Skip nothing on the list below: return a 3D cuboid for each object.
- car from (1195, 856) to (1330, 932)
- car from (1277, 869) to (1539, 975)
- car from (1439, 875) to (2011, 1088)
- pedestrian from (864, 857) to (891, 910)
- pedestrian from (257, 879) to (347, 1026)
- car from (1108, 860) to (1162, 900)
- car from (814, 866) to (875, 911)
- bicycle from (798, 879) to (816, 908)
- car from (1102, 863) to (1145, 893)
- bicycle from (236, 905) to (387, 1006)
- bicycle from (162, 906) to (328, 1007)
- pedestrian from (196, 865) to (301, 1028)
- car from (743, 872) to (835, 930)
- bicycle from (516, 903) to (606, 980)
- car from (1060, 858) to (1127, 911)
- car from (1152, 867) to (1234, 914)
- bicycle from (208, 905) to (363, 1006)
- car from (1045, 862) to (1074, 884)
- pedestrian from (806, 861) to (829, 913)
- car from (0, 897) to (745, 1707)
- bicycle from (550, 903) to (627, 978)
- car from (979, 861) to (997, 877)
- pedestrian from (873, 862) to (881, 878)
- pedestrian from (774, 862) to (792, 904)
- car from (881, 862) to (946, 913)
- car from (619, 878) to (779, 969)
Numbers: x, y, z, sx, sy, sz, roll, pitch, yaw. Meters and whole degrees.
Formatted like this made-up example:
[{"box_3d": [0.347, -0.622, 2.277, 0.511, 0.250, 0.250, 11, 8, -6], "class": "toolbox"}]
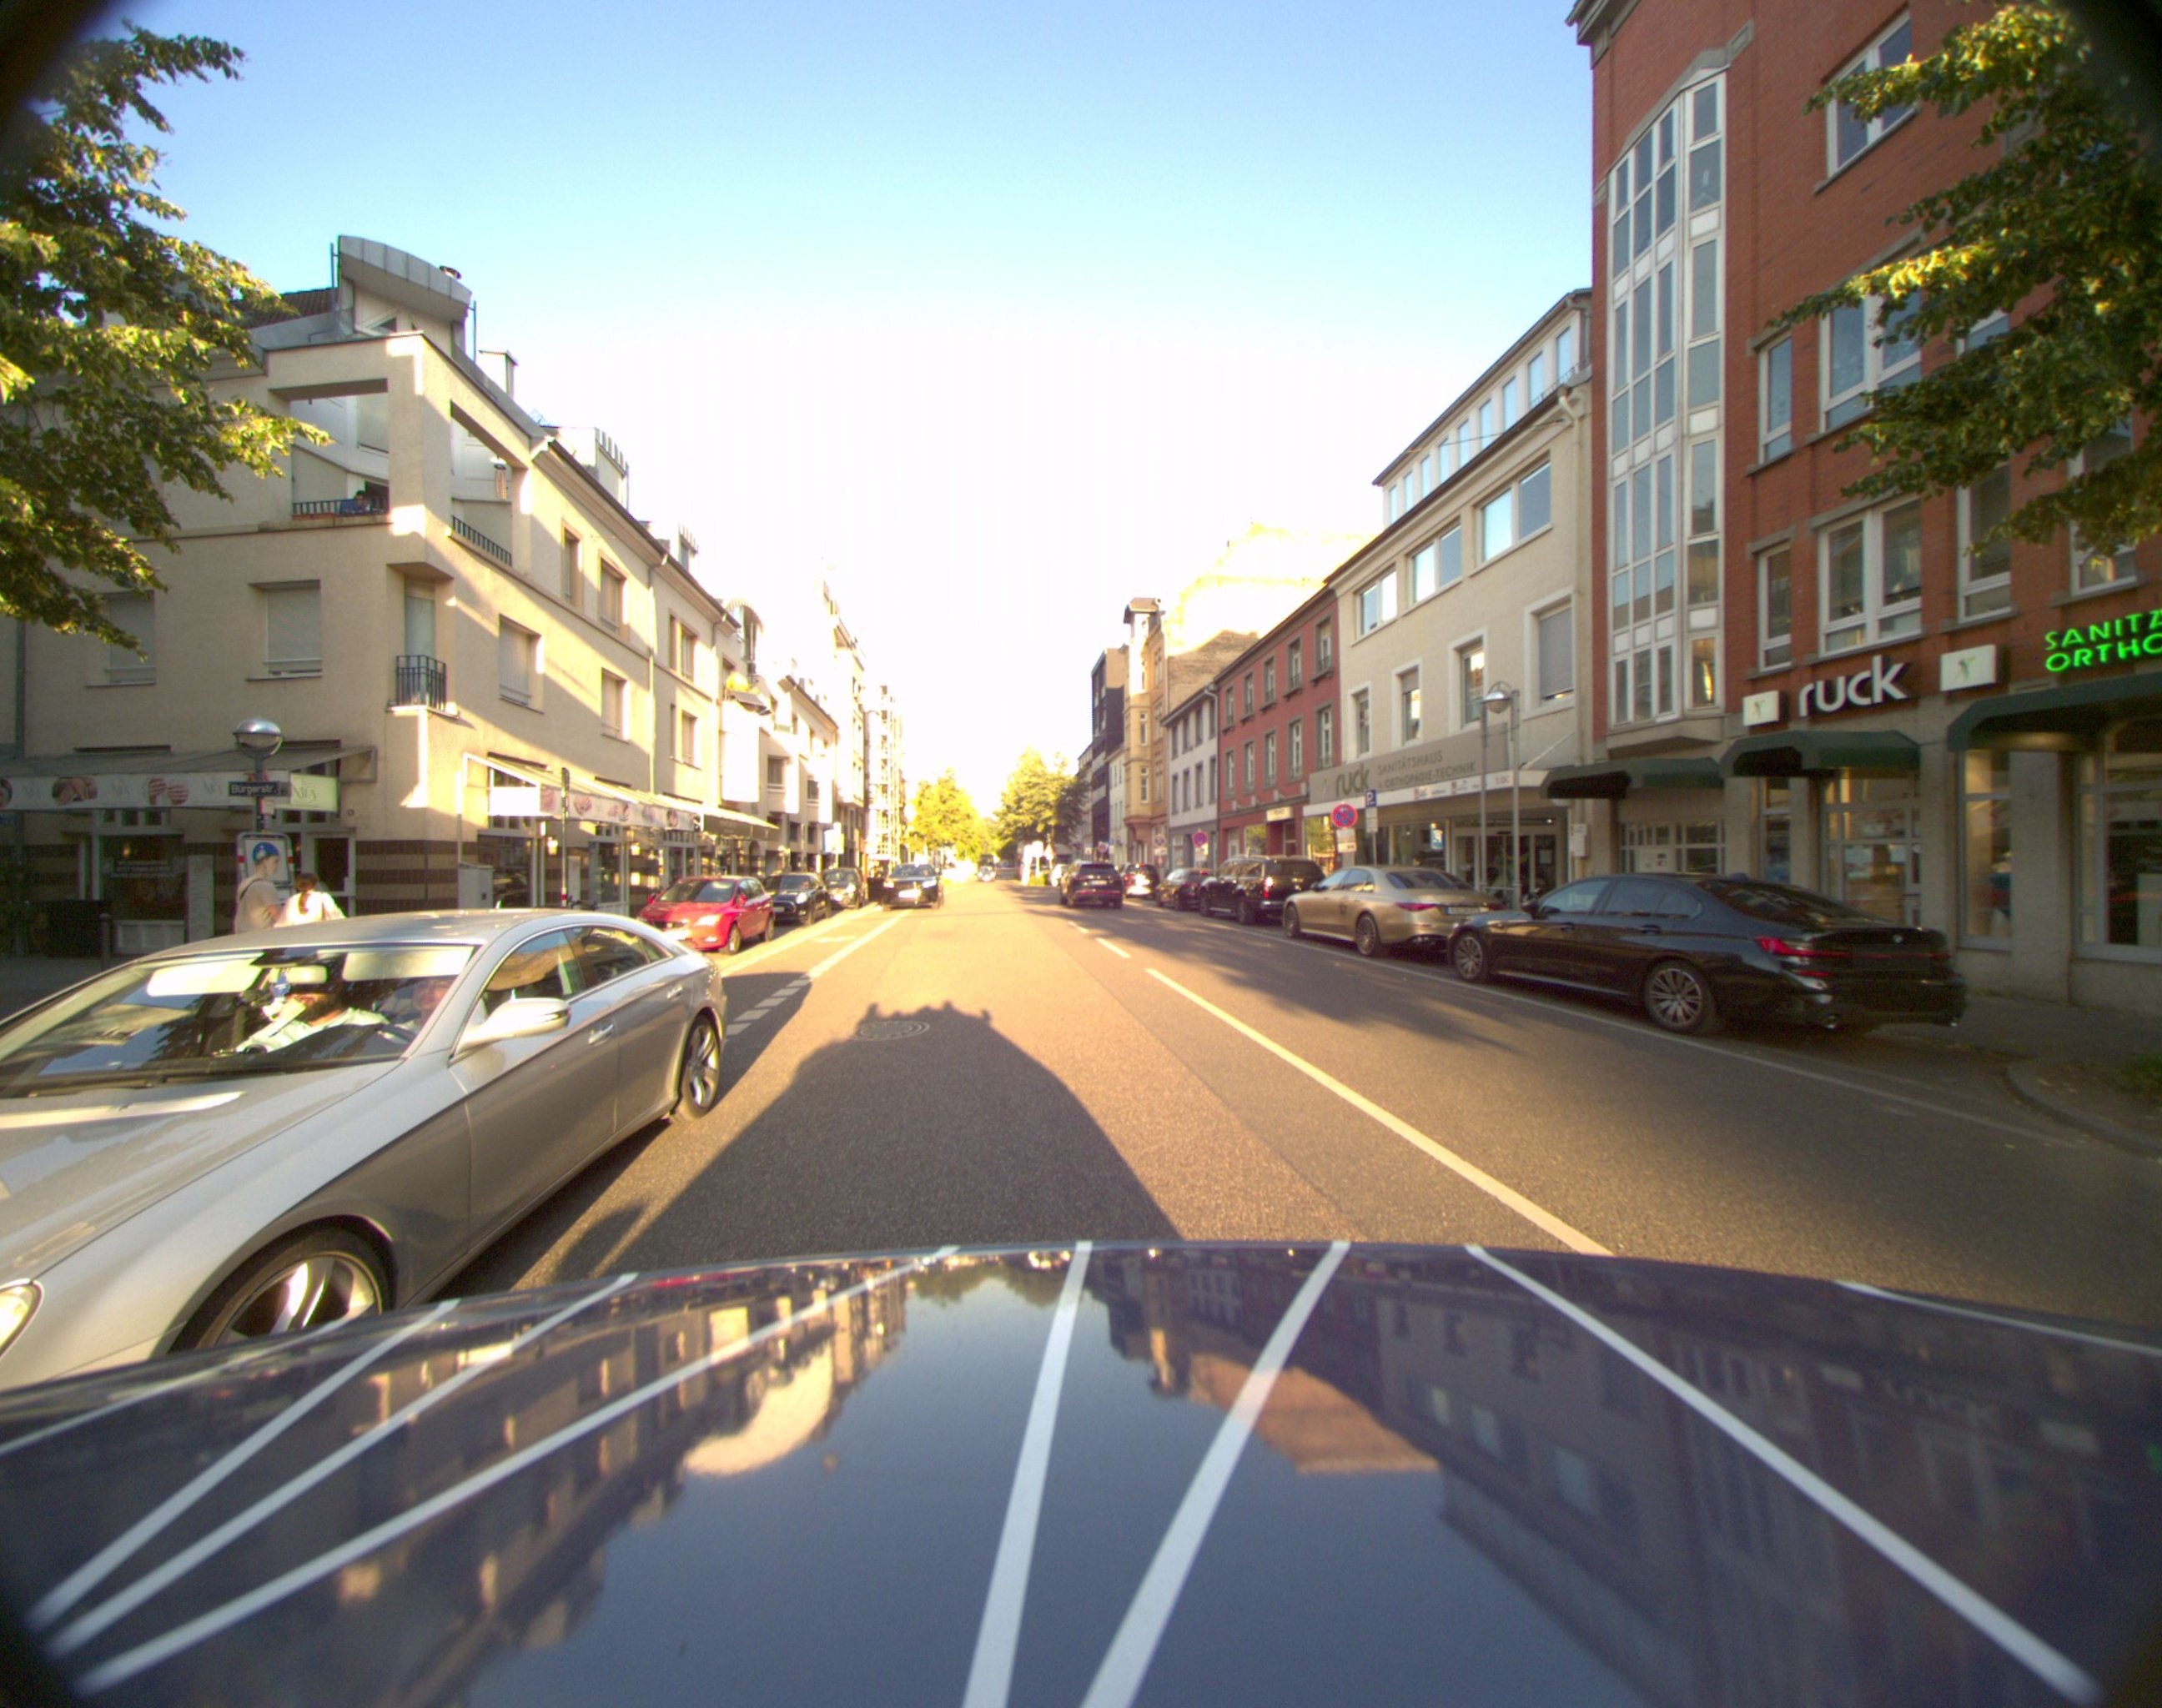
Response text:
[{"box_3d": [4.653, 0.968, 20.302, 1.726, 1.768, 4.935, 1, -1, -9], "class": "car"}, {"box_3d": [5.369, 1.029, 13.452, 2.000, 1.463, 5.104, 1, -1, -6], "class": "car"}, {"box_3d": [5.884, 1.014, 7.892, 1.726, 1.464, 4.538, 2, -1, -7], "class": "car"}, {"box_3d": [-7.500, 1.081, 28.012, 0.779, 1.872, 0.669, -4, 1, -8], "class": "pedestrian"}, {"box_3d": [-8.685, 1.089, 8.487, 0.521, 1.583, 0.408, 2, 0, -8], "class": "pedestrian"}, {"box_3d": [2.416, 1.158, 34.910, 1.726, 1.673, 4.047, 2, -1, -6], "class": "car"}, {"box_3d": [-9.031, 1.261, 29.250, 1.622, 1.583, 3.923, -1, 0, -8], "class": "car"}, {"box_3d": [-10.613, 1.514, 29.422, 0.296, 1.079, 1.462, -1, 0, -7], "class": "bicycle"}, {"box_3d": [2.190, 1.251, 40.133, 1.690, 1.461, 3.689, 2, -1, -6], "class": "car"}, {"box_3d": [-10.297, 1.308, 10.265, 0.322, 1.098, 1.878, -1, 0, -7], "class": "bicycle"}, {"box_3d": [-11.073, 1.308, 10.157, 0.322, 1.098, 1.878, -1, 0, -7], "class": "bicycle"}, {"box_3d": [-9.218, 1.006, 8.432, 0.545, 1.748, 0.502, 2, 0, -8], "class": "pedestrian"}, {"box_3d": [-8.218, 1.268, 21.716, 1.622, 1.425, 3.923, 0, 0, -8], "class": "car"}, {"box_3d": [-8.368, 1.368, 12.311, 0.315, 1.040, 1.881, 0, 0, -5], "class": "bicycle"}, {"box_3d": [0.347, 1.006, 26.335, 1.736, 1.665, 4.293, 0, -1, -7], "class": "car"}, {"box_3d": [3.818, 1.227, 26.506, 1.707, 1.429, 4.012, 2, -1, -8], "class": "car"}, {"box_3d": [-10.615, 1.306, 10.230, 0.291, 1.098, 1.886, -1, 0, -7], "class": "bicycle"}, {"box_3d": [-1.607, 1.339, 54.874, 1.674, 1.512, 3.562, 1, 0, -8], "class": "car"}, {"box_3d": [-8.901, 1.113, 25.703, 0.631, 1.739, 0.669, 0, 0, -8], "class": "pedestrian"}, {"box_3d": [-3.017, 1.051, 3.139, 1.748, 1.393, 4.635, -2, 1, -8], "class": "car"}, {"box_3d": [-8.004, 1.370, 12.421, 0.315, 1.040, 1.664, 0, 0, -5], "class": "bicycle"}, {"box_3d": [-9.158, 1.478, 74.797, 1.623, 1.465, 3.686, -2, 0, -8], "class": "car"}, {"box_3d": [-16.620, 1.310, 61.941, 0.492, 1.256, 0.421, -2, 1, -7], "class": "pedestrian"}, {"box_3d": [-13.107, 1.278, 33.397, 0.576, 1.789, 0.450, -2, 1, -7], "class": "pedestrian"}, {"box_3d": [-5.971, 1.132, 27.523, 1.891, 1.626, 4.224, -2, 0, -8], "class": "car"}, {"box_3d": [-7.195, 1.222, 14.725, 1.594, 1.425, 3.923, 0, 0, -8], "class": "car"}]
